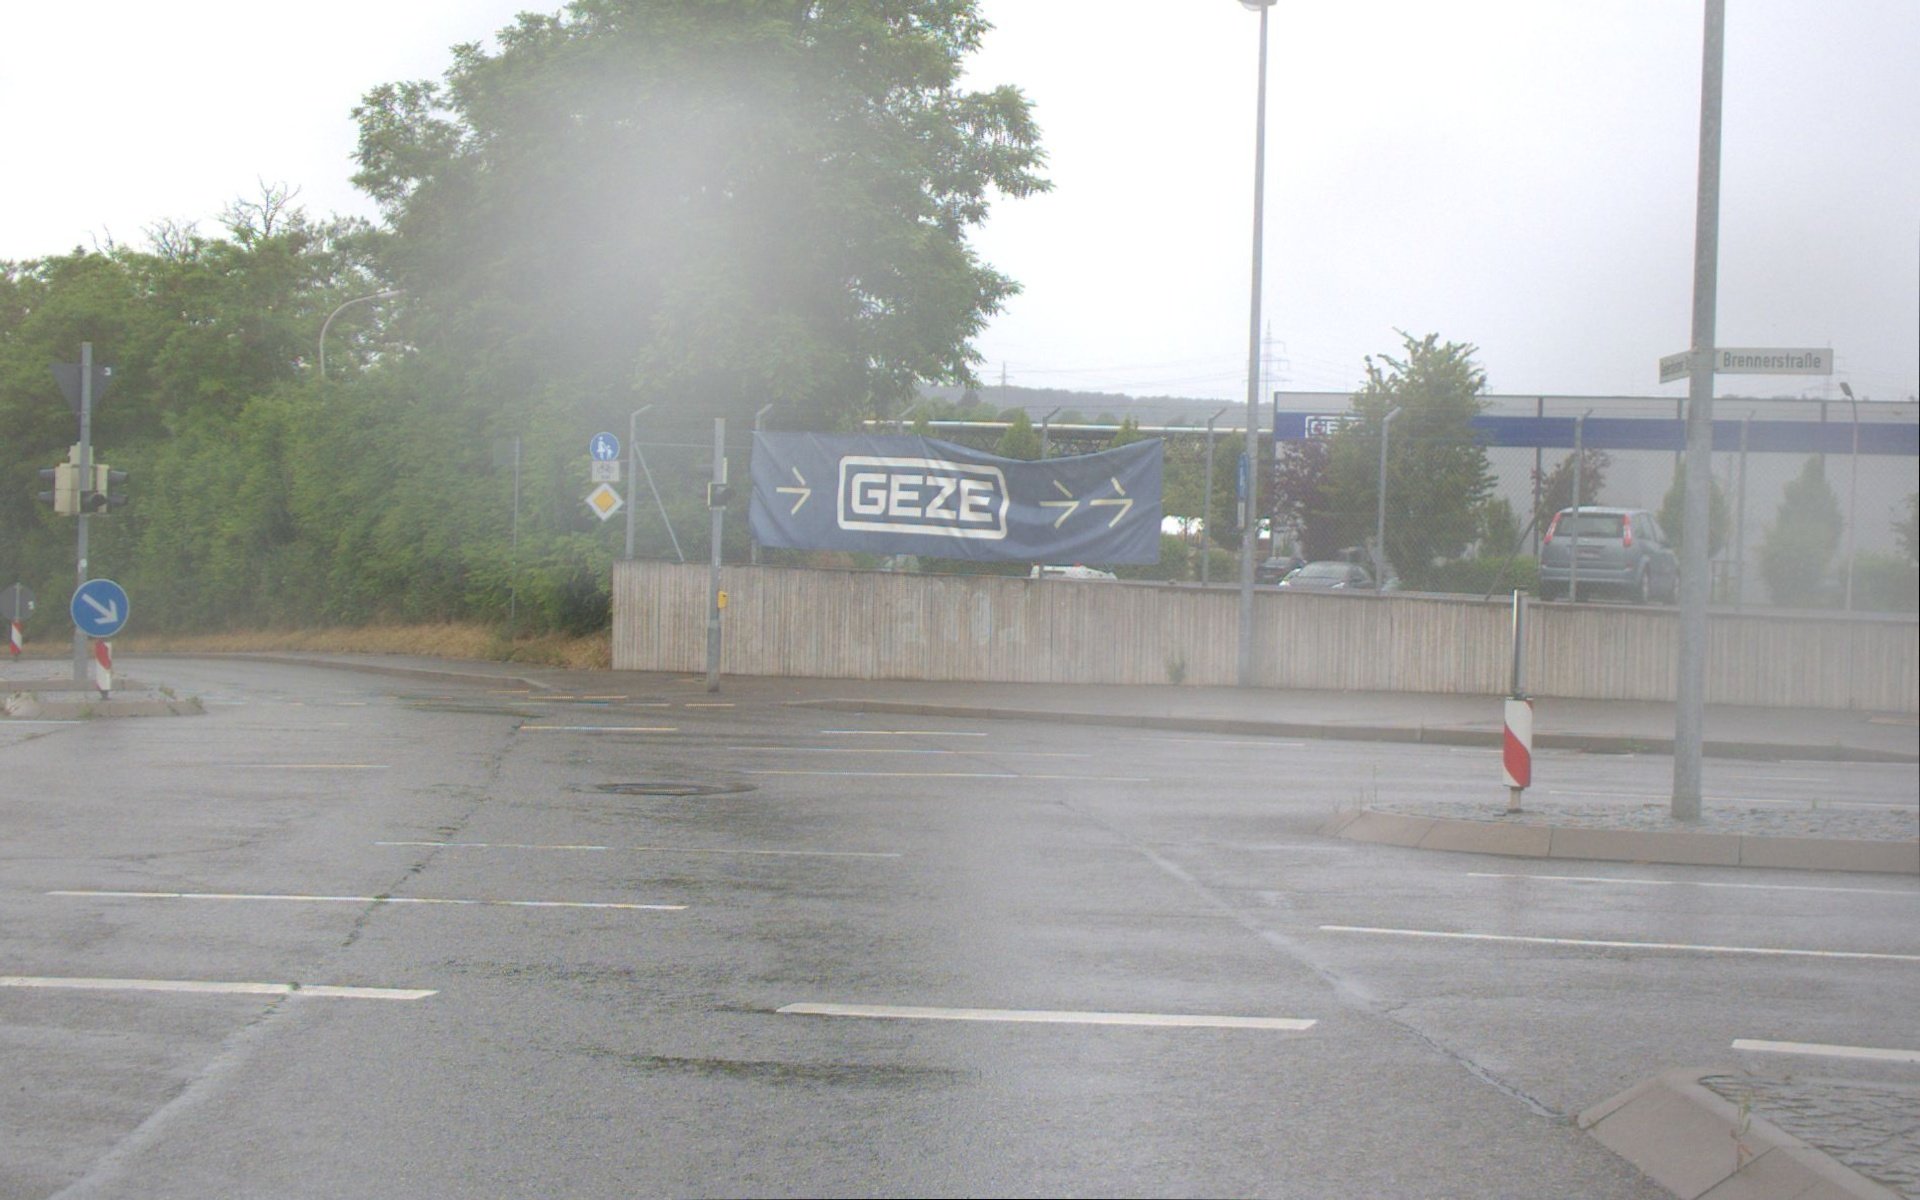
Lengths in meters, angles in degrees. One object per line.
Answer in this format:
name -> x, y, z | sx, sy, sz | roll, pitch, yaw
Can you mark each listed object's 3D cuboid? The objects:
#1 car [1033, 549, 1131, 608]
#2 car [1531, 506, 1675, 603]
car -> 3.421, -0.582, 95.755 | 1.668, 1.601, 3.527 | 1, 0, 21
car -> 10.737, -0.745, 57.289 | 1.744, 1.548, 3.527 | 1, 0, 21
